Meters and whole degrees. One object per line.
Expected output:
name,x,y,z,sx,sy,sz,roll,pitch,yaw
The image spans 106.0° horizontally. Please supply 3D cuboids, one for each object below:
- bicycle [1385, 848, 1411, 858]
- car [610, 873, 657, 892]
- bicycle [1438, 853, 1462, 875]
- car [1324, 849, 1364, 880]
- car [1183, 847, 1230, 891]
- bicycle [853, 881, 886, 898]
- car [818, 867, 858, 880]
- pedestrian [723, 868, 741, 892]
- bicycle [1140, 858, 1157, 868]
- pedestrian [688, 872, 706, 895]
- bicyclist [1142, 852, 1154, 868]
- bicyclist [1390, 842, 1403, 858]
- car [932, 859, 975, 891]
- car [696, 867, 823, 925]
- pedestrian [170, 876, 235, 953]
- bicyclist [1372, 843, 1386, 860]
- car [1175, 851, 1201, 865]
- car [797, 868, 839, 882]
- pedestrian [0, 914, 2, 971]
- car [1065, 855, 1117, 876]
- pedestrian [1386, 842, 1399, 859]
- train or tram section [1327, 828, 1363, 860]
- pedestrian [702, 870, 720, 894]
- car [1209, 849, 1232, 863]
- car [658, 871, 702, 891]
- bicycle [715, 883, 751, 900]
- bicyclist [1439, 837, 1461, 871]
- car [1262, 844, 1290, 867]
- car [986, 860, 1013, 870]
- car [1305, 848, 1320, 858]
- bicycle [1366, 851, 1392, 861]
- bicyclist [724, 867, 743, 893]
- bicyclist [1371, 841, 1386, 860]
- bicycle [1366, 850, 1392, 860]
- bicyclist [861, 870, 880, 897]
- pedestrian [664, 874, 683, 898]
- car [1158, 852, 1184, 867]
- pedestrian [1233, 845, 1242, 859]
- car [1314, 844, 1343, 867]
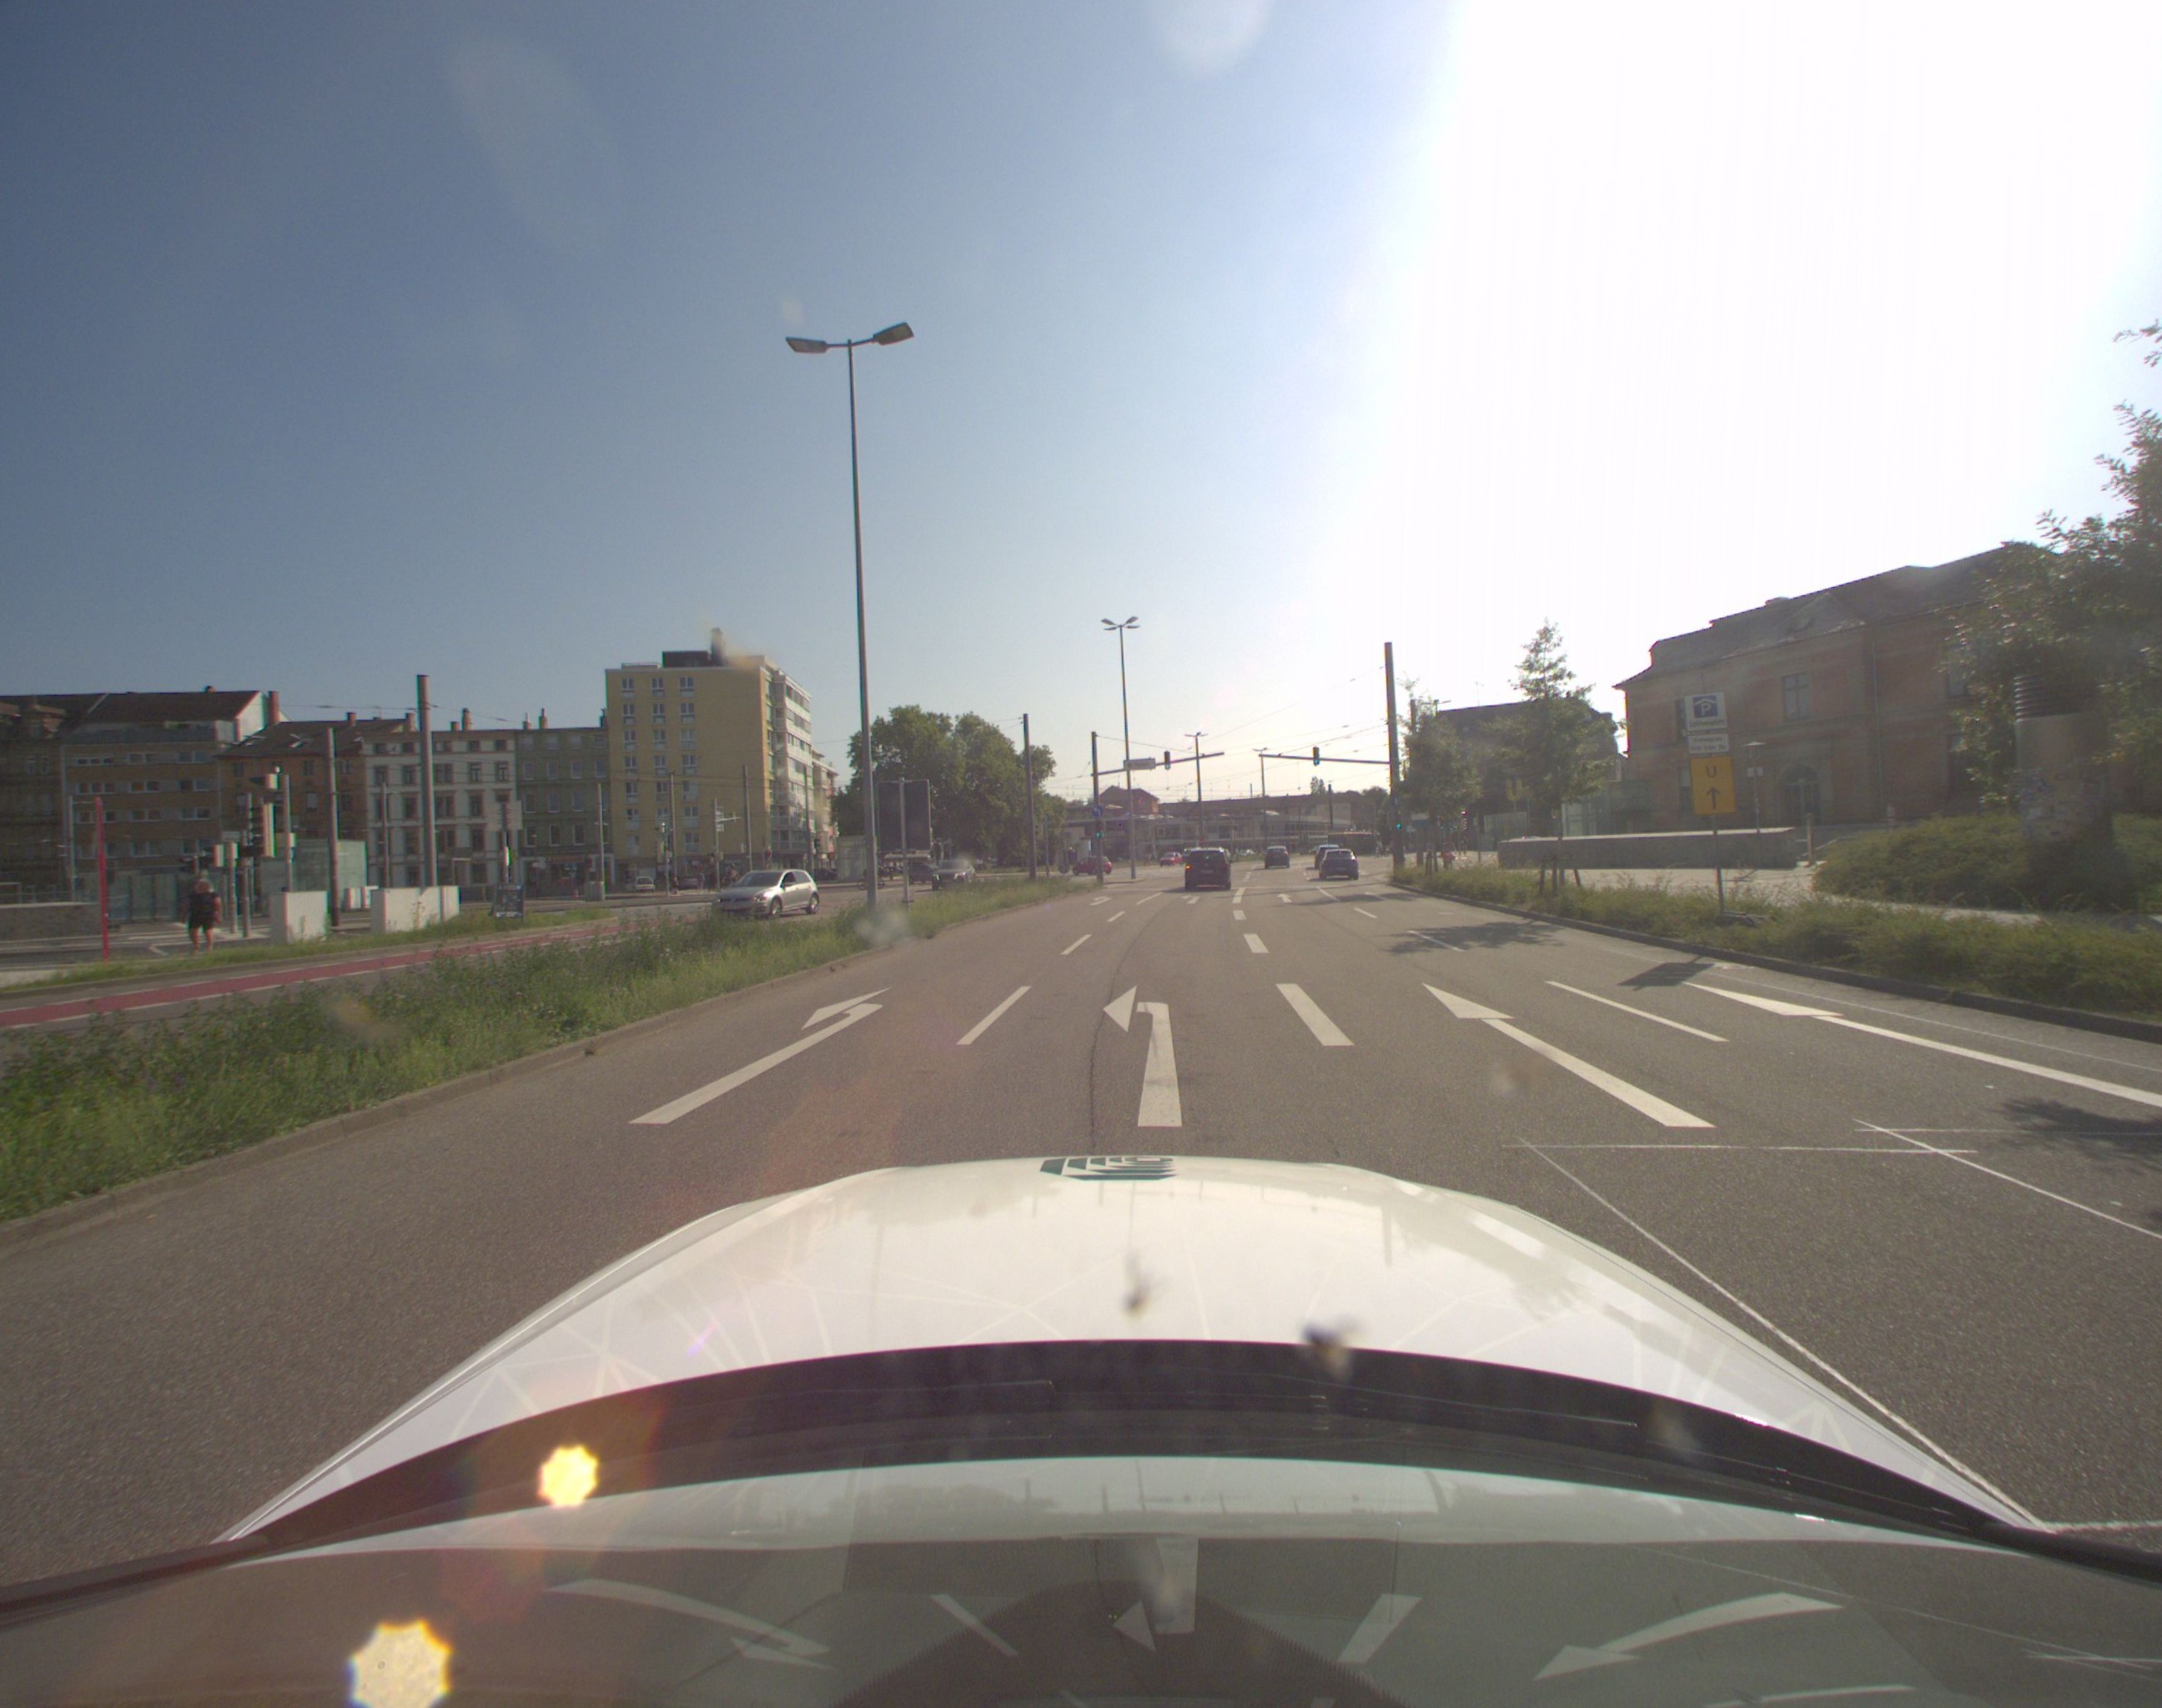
bicycle,35.872,-0.103,92.132,2.621,0.964,1.088,-2,0,-13
car,-41.531,2.665,75.597,4.491,1.678,2.013,-2,0,36
bicycle,17.196,0.463,37.970,0.714,0.960,1.930,-3,0,16
car,13.547,0.497,42.099,1.811,1.428,4.432,-3,0,17
car,5.300,0.574,34.339,1.814,1.714,4.424,-1,0,9
bicycle,-13.171,2.203,50.760,1.807,0.932,0.726,-2,0,-1
car,-28.582,2.261,95.870,4.154,1.354,1.574,-2,0,-8
pedestrian,-25.843,1.902,60.353,0.921,1.690,0.920,-2,-1,-6
bicycle,7.670,0.982,92.796,0.949,1.057,2.624,-2,0,27
pedestrian,-28.615,2.175,60.684,0.921,1.690,0.920,-2,-1,-6
bicyclist,7.591,0.653,92.663,0.949,1.748,1.173,-2,-1,27
bicyclist,35.669,-0.462,92.083,0.935,1.680,1.088,-2,0,-13
car,-7.083,1.150,45.597,1.689,1.617,4.460,-3,0,-1
car,-9.495,1.190,24.472,1.805,1.433,4.230,-3,0,5
pedestrian,-21.592,1.467,20.030,0.774,1.800,0.701,-3,-1,3
bicyclist,33.283,-0.269,91.009,0.935,1.800,1.088,-2,0,-13
car,13.017,0.486,98.926,1.942,1.475,4.024,-5,-1,26
car,-29.009,2.255,89.754,4.154,1.354,1.477,-2,0,-8
pedestrian,-23.059,1.698,16.686,0.996,1.559,0.855,-2,-1,-45
car,0.747,0.916,65.734,1.840,1.535,4.362,-3,0,-37
pedestrian,34.347,-0.353,89.744,0.931,1.797,0.851,-2,0,-30
train or tram section,33.705,-1.320,103.574,2.630,3.699,10.652,-3,0,26
pedestrian,-27.525,2.058,60.520,0.921,1.690,0.920,-2,-1,-6
car,17.128,0.241,99.636,1.599,1.475,4.024,-5,-1,26
car,-37.118,2.506,75.347,4.491,1.678,2.013,-2,0,40
bicycle,-21.034,2.283,49.203,1.807,0.932,0.726,-2,0,-1
bicyclist,17.151,0.001,37.883,0.714,1.513,1.009,-3,-1,16
car,14.452,0.089,60.209,1.812,1.535,4.431,-3,0,16
car,-13.766,1.836,137.501,1.683,1.522,4.543,-2,0,42
car,39.182,-0.126,137.702,1.599,1.475,4.024,-5,-1,27
bicycle,32.491,0.177,88.846,2.632,0.964,1.084,-2,0,-27
bicyclist,-20.978,1.574,49.211,0.792,1.527,0.726,-2,0,0
bicyclist,32.427,-0.365,88.833,0.939,2.024,1.083,-2,0,-26
bicycle,33.316,0.151,91.013,2.621,0.964,1.088,-2,0,-13
bicyclist,-13.122,1.825,50.767,0.878,1.652,0.726,-2,0,-1
pedestrian,-29.838,2.332,59.637,0.921,1.690,0.920,-2,-1,-6
car,10.194,0.570,91.918,1.599,1.475,4.024,-5,-1,26
pedestrian,17.202,-0.201,89.269,0.771,1.503,0.714,-3,0,23
car,17.082,0.089,56.340,1.811,1.428,4.431,-3,0,16
